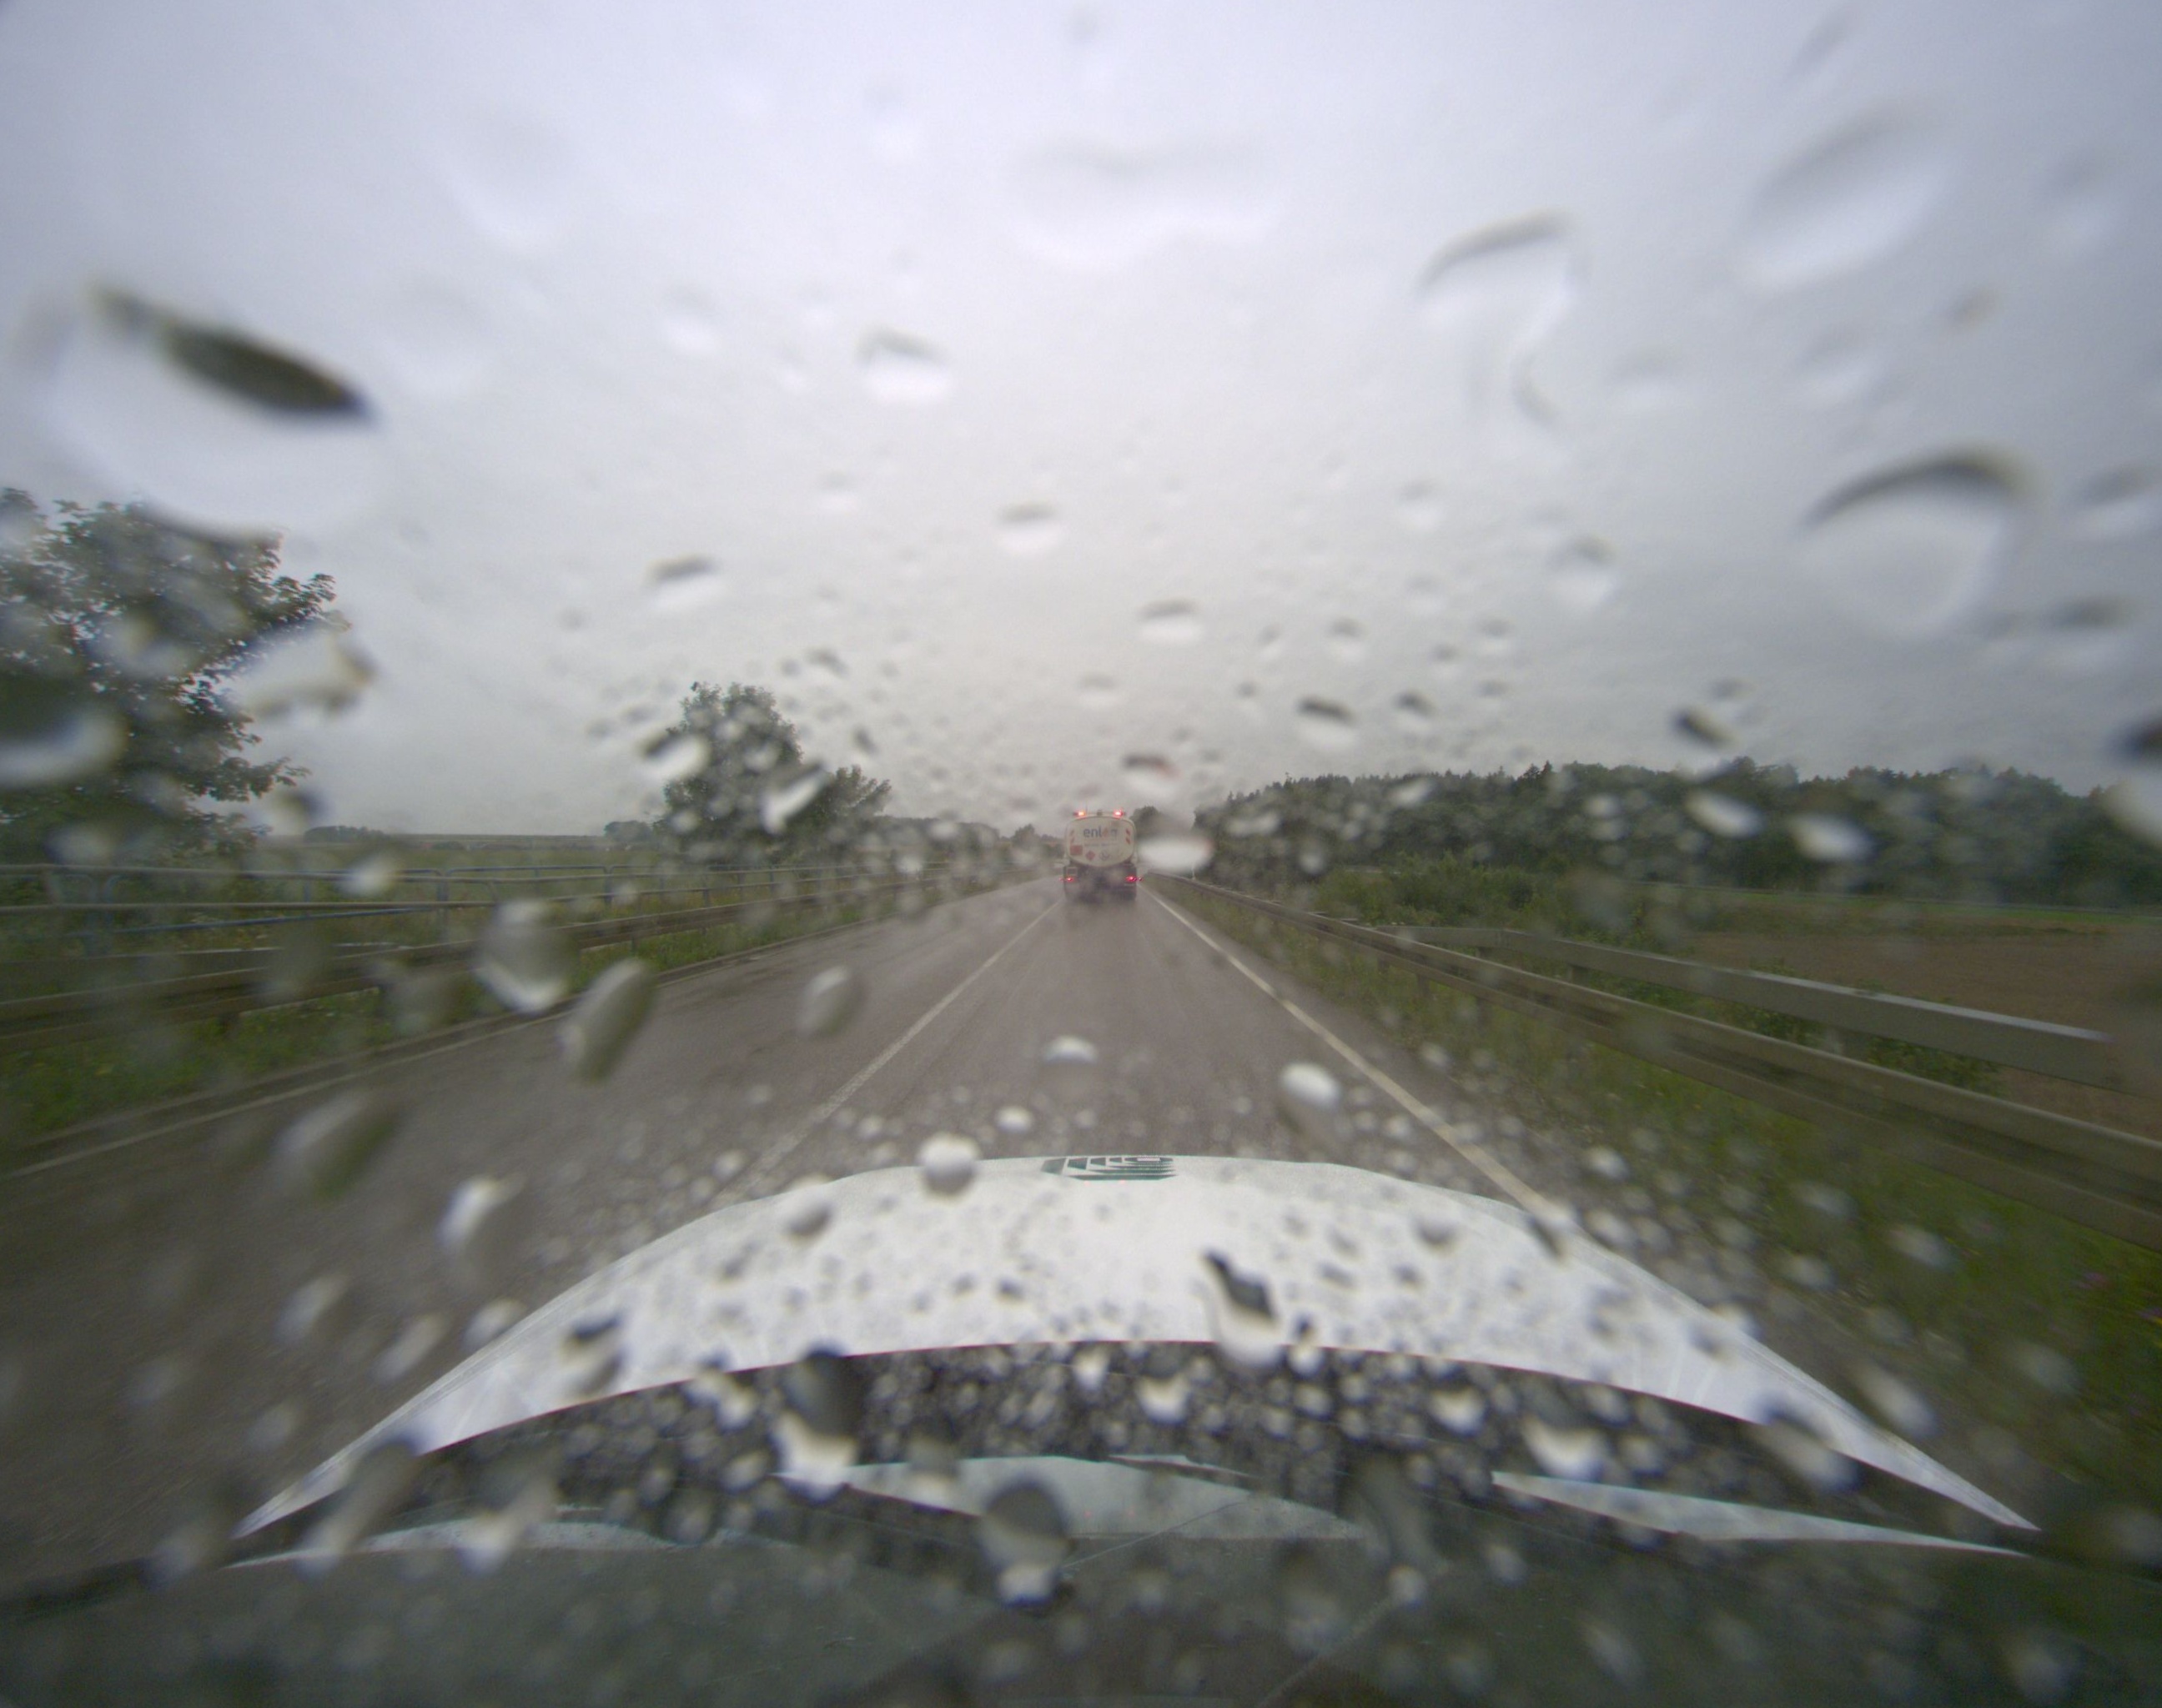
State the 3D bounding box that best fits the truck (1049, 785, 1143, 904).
[{"bbox_3d":[0.709,-0.301,31.155,3.027,3.851,8.828,-1,0,3],"label":"truck"}]
